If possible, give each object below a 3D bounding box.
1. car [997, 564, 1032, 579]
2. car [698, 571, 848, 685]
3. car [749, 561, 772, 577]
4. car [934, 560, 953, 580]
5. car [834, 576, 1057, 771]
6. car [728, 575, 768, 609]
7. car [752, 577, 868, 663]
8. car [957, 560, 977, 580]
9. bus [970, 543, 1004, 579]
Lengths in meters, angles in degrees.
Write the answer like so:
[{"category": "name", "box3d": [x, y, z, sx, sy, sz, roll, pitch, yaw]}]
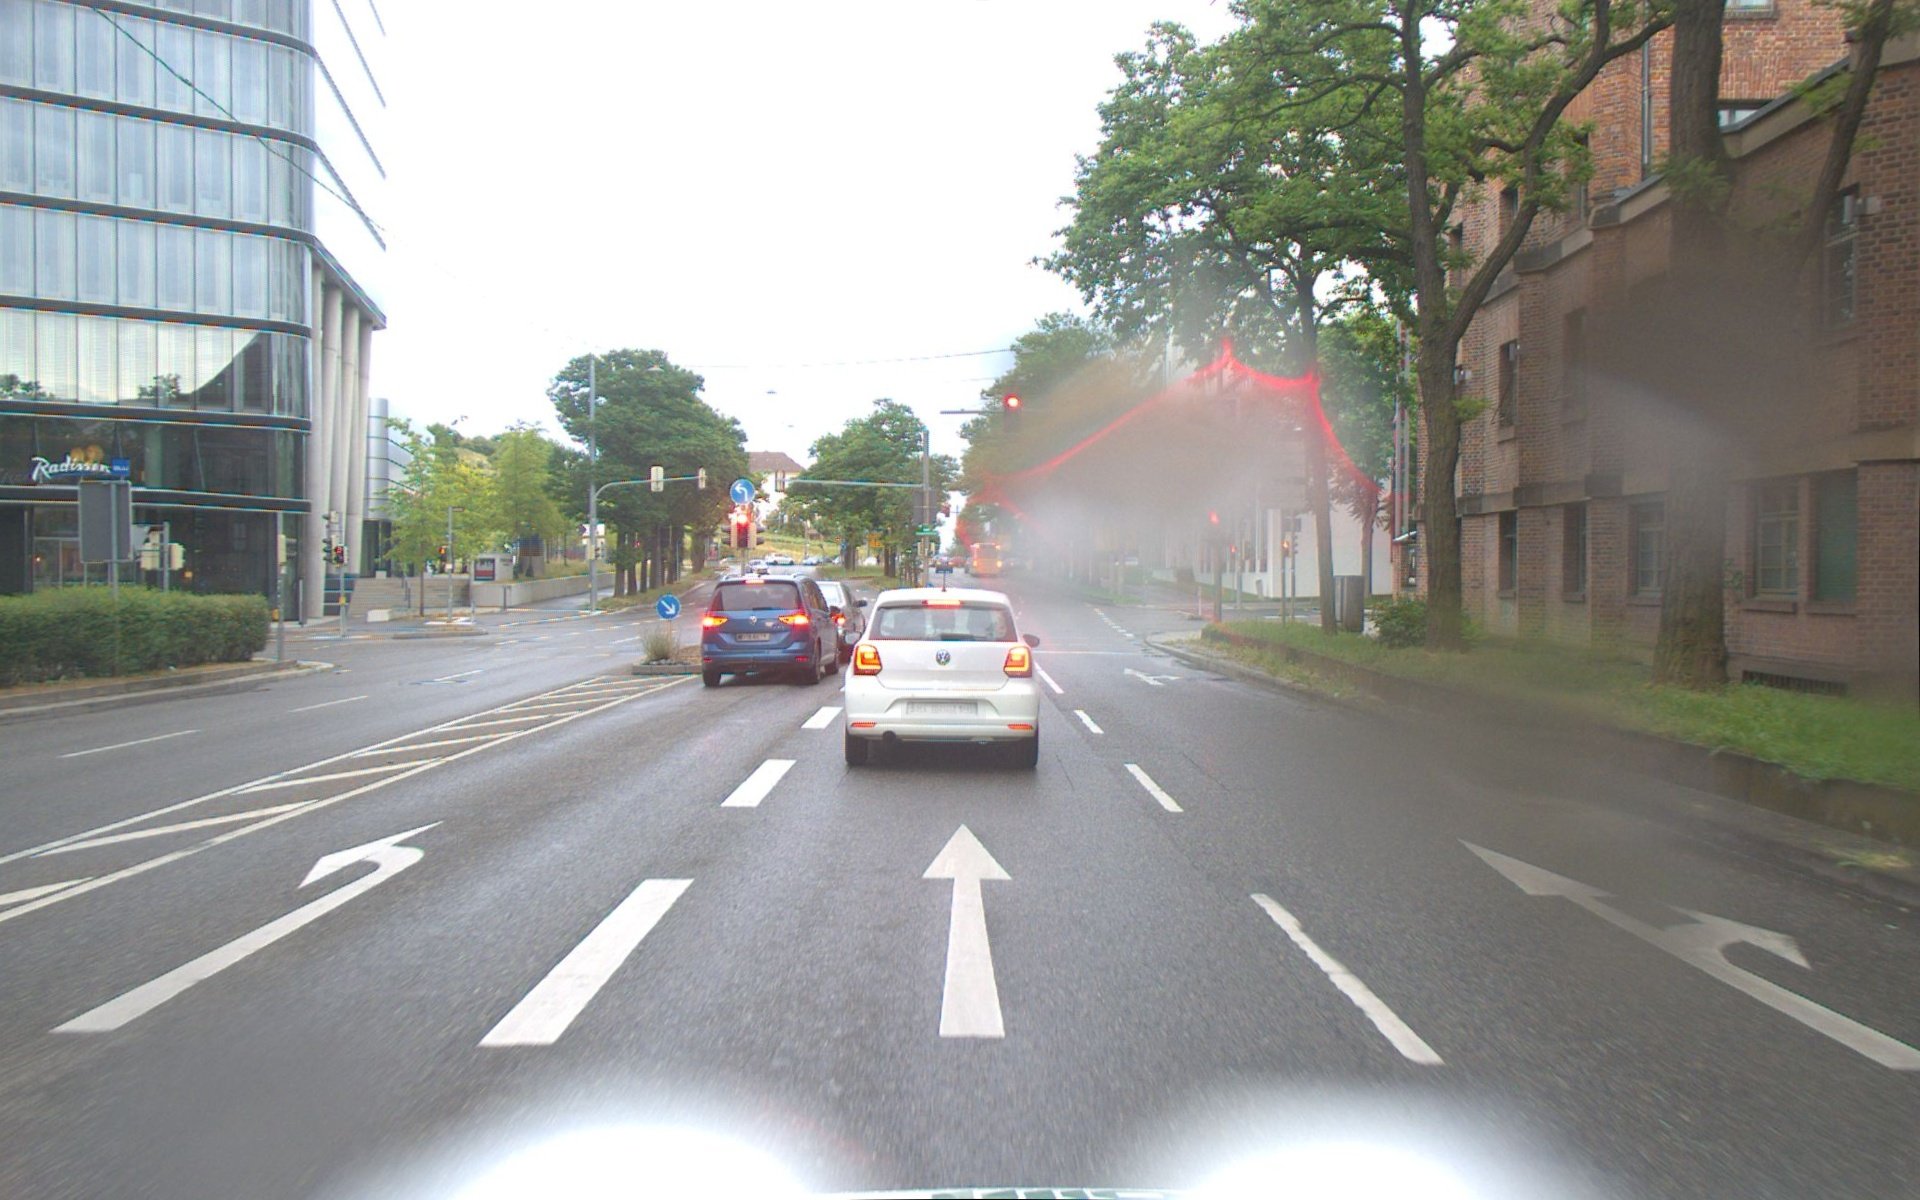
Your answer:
[{"category": "car", "box3d": [5.716, -2.948, 173.347, 1.671, 1.542, 3.803, 0, 1, 43]}, {"category": "car", "box3d": [-2.858, 0.380, 26.113, 1.735, 1.624, 4.198, -1, 1, 2]}, {"category": "car", "box3d": [-19.252, -3.015, 159.508, 1.783, 1.435, 4.641, -2, 2, -12]}, {"category": "car", "box3d": [-1.758, -3.117, 173.431, 1.953, 2.049, 3.999, 0, 1, -2]}, {"category": "car", "box3d": [-0.123, 0.558, 15.074, 1.757, 1.528, 4.000, 0, 1, 0]}, {"category": "car", "box3d": [-10.401, -0.407, 81.253, 1.716, 1.547, 3.814, -1, 2, -4]}, {"category": "car", "box3d": [-2.863, 0.337, 32.343, 1.809, 1.536, 4.049, -1, 1, 1]}, {"category": "car", "box3d": [0.689, -3.165, 173.554, 1.953, 2.049, 3.999, 0, 1, -2]}, {"category": "bus", "box3d": [2.553, -3.739, 158.362, 2.771, 3.323, 9.999, 0, 2, -1]}]
